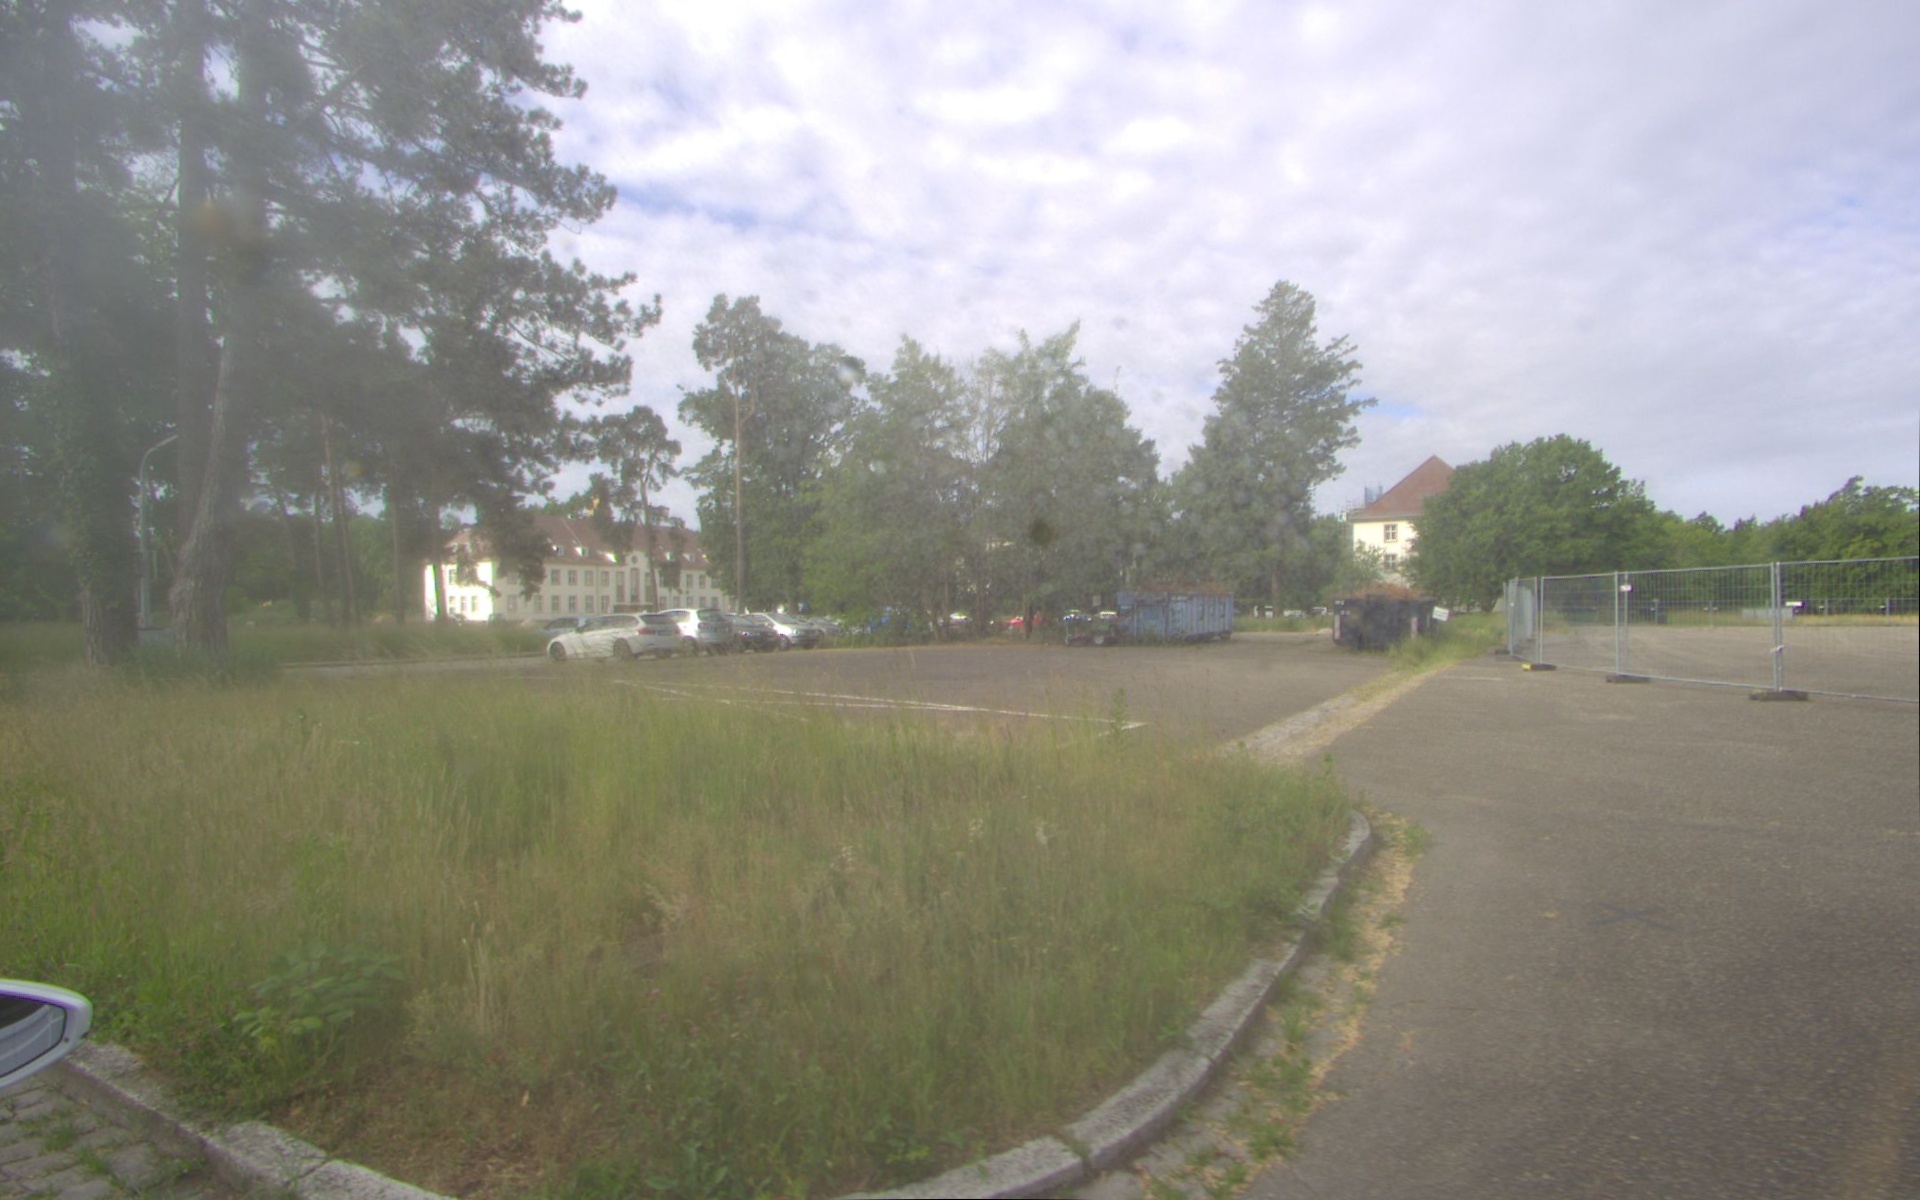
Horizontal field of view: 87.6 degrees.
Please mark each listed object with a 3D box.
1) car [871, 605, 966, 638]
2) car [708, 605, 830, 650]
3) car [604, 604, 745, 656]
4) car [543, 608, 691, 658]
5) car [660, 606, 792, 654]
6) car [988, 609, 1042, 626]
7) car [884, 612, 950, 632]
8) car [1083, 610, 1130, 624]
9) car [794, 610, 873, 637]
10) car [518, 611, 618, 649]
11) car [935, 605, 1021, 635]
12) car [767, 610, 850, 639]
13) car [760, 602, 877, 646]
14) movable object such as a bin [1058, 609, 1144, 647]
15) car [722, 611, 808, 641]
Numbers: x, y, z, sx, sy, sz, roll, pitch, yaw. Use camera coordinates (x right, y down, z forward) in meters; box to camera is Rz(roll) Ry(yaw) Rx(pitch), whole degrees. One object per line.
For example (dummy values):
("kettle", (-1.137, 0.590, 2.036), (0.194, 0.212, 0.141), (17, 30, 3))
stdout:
("car", (-2.072, 1.064, 49.852), (4.378, 1.598, 1.865), (-1, 0, 28))
("car", (-7.237, 1.017, 37.890), (4.378, 1.598, 1.865), (-1, 0, 28))
("car", (-9.364, 0.951, 32.809), (4.378, 1.598, 1.865), (-1, 0, 28))
("car", (-10.448, 1.005, 30.448), (4.379, 1.434, 1.751), (-1, -1, 28))
("car", (-8.229, 1.009, 35.207), (4.378, 1.598, 1.865), (-1, 0, 28))
("car", (4.393, 1.390, 79.563), (3.935, 1.373, 1.657), (-1, 0, 26))
("car", (-2.767, 1.427, 64.342), (3.940, 1.225, 1.655), (-1, 0, 30))
("car", (13.325, 1.547, 91.202), (3.935, 1.225, 1.657), (-1, 0, 26))
("car", (-7.378, 1.353, 58.396), (4.378, 1.544, 1.751), (-1, 0, 28))
("car", (-16.766, 1.251, 42.754), (4.384, 1.544, 1.748), (-1, 0, 33))
("car", (1.005, 1.085, 55.164), (4.378, 1.598, 1.865), (-1, 0, 28))
("car", (-8.364, 1.328, 55.352), (4.378, 1.544, 1.751), (-1, 0, 28))
("car", (-5.663, 0.937, 39.952), (4.378, 1.708, 1.865), (-1, 0, 28))
("movable object such as a bin", (4.465, 0.869, 31.833), (2.504, 1.098, 1.060), (1, 1, 30))
("car", (-10.375, 1.350, 53.179), (4.378, 1.544, 1.751), (-1, 0, 28))
